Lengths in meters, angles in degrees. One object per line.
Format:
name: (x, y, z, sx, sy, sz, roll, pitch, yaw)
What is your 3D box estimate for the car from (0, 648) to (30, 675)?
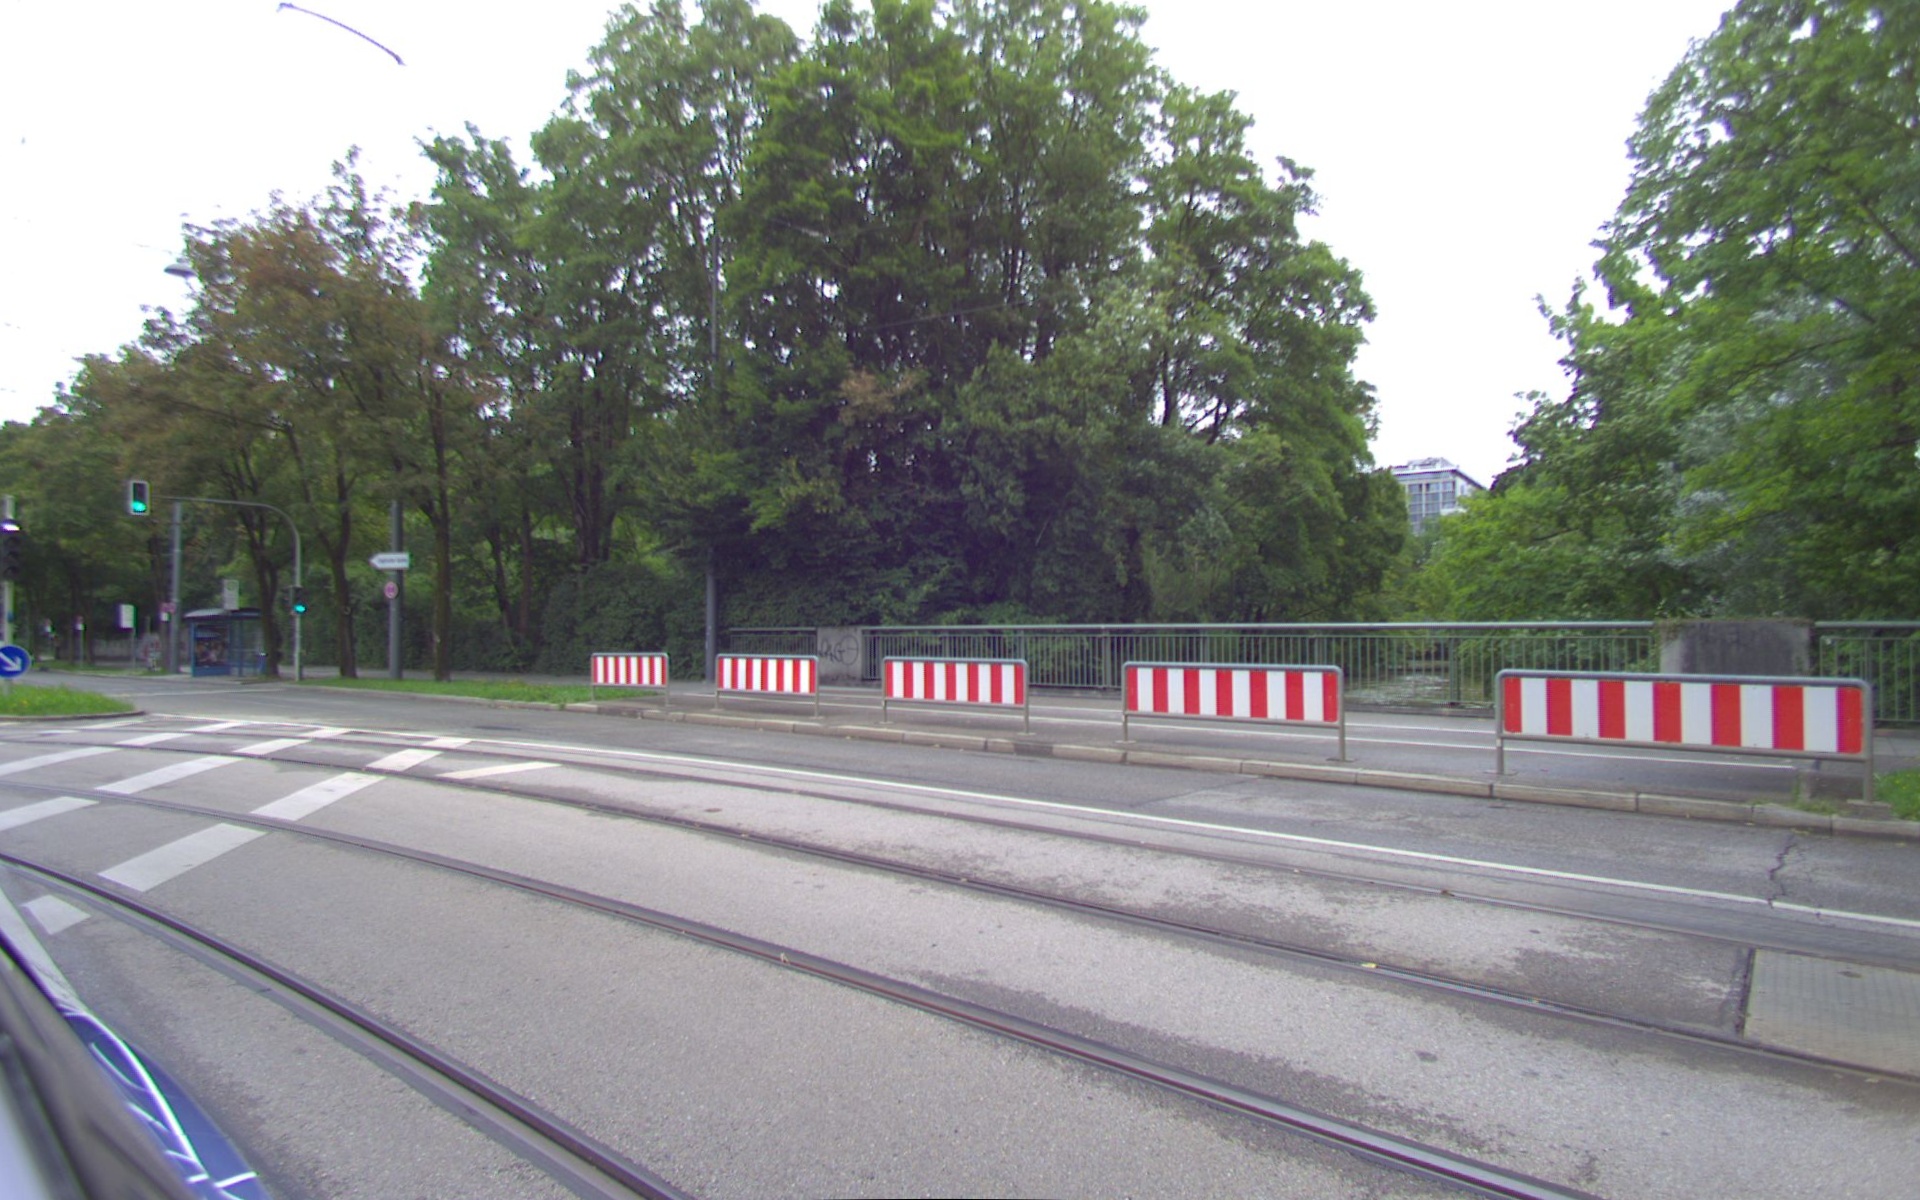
car: (-60.267, 3.886, 63.803, 3.996, 1.552, 1.864, -1, 0, 40)

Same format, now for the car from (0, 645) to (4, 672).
car: (-64.729, 3.866, 66.831, 3.996, 1.739, 1.864, -1, 0, 40)
